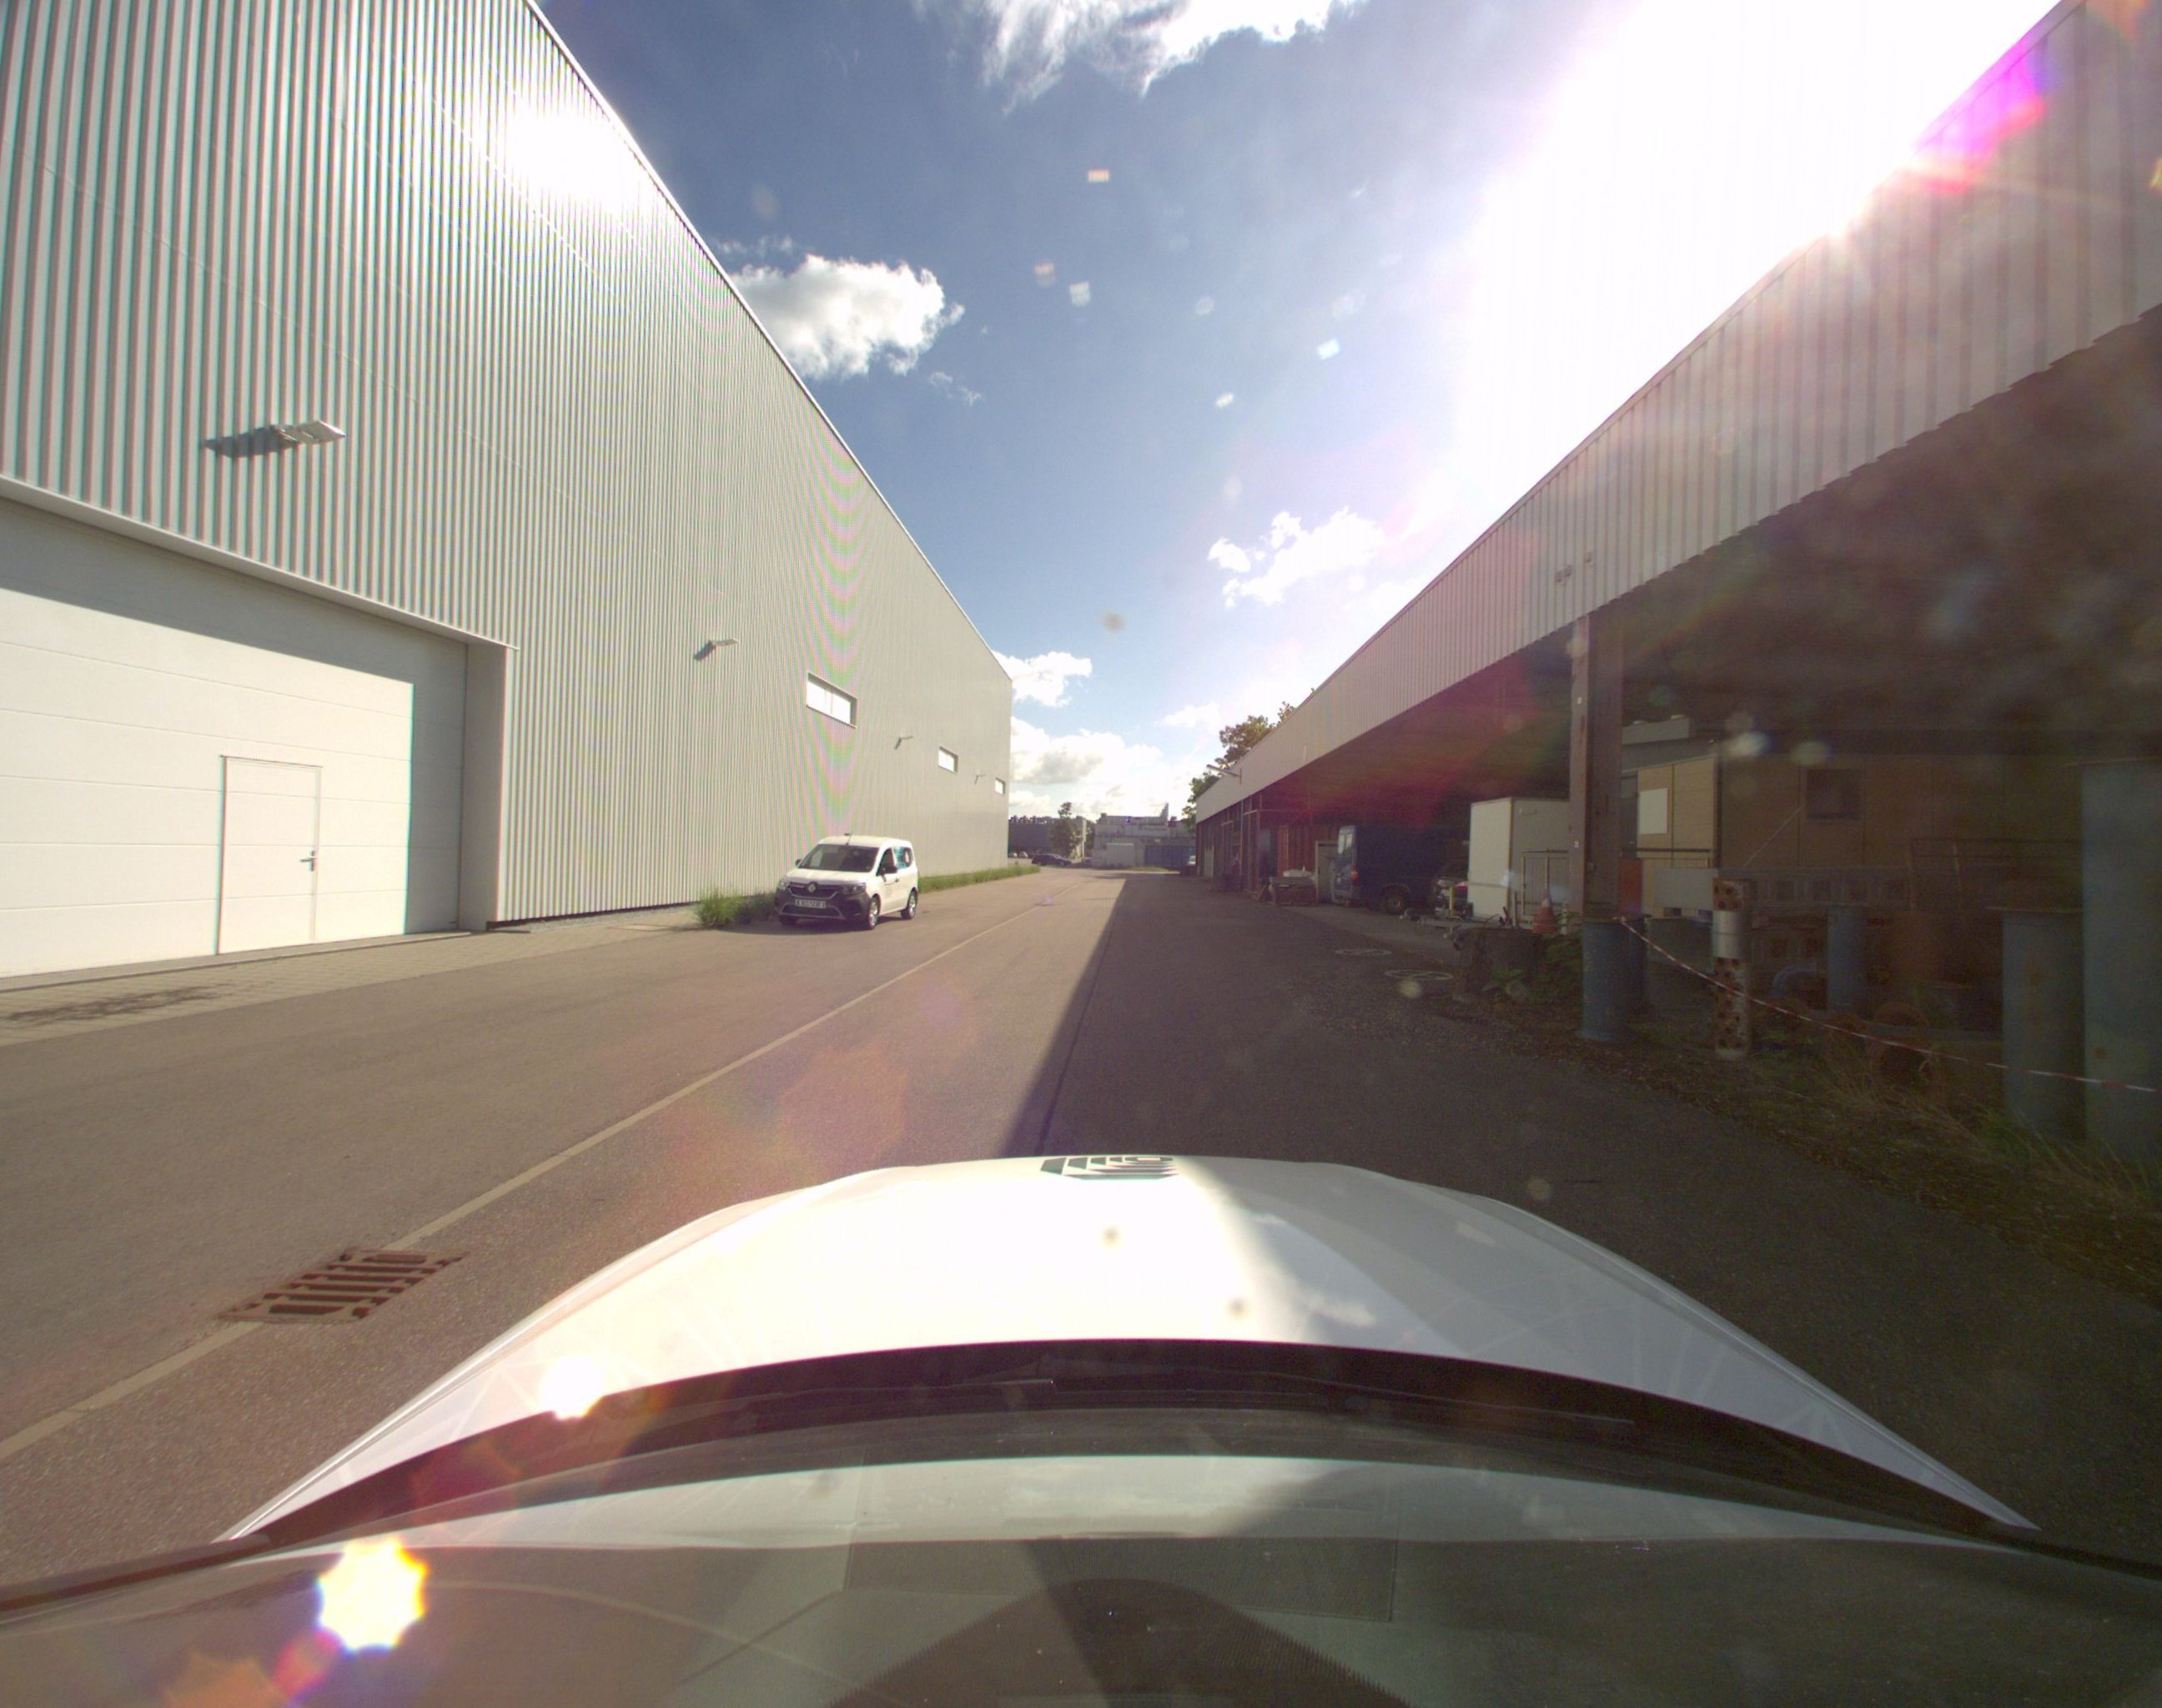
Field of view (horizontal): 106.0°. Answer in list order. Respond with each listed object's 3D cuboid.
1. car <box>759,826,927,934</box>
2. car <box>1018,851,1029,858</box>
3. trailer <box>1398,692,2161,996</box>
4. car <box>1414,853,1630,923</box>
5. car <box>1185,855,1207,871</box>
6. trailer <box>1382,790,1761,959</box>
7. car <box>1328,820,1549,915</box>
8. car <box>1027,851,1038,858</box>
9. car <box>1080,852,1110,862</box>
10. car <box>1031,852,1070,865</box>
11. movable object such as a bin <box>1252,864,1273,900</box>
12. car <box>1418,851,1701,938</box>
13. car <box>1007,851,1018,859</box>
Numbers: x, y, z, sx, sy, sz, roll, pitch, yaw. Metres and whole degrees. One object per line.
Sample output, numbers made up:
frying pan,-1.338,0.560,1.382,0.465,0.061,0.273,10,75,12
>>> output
car,-4.726,0.468,16.920,1.882,1.845,4.362,3,0,3
car,-13.964,0.205,197.091,2.184,1.736,4.003,0,-1,3
trailer,9.504,-0.118,10.145,9.995,3.216,2.856,0,0,3
car,9.880,0.739,18.454,3.975,1.472,1.787,0,0,-1
car,12.075,0.930,85.643,1.985,1.585,4.176,1,1,3
trailer,7.423,0.274,12.796,4.785,2.391,1.831,0,0,8
car,9.274,0.330,21.457,4.957,2.325,2.002,1,0,3
car,-11.532,0.139,195.254,2.184,1.736,4.003,0,-1,3
car,2.261,0.424,126.584,4.505,1.508,1.911,1,0,4
car,-3.654,0.569,99.224,4.504,1.508,1.911,0,0,5
movable object such as a bin,6.086,0.909,27.307,0.578,1.164,1.241,0,0,8
car,8.869,0.721,15.370,4.313,1.496,1.777,0,0,1
car,-16.558,0.255,196.877,1.985,1.736,4.003,0,-1,3
